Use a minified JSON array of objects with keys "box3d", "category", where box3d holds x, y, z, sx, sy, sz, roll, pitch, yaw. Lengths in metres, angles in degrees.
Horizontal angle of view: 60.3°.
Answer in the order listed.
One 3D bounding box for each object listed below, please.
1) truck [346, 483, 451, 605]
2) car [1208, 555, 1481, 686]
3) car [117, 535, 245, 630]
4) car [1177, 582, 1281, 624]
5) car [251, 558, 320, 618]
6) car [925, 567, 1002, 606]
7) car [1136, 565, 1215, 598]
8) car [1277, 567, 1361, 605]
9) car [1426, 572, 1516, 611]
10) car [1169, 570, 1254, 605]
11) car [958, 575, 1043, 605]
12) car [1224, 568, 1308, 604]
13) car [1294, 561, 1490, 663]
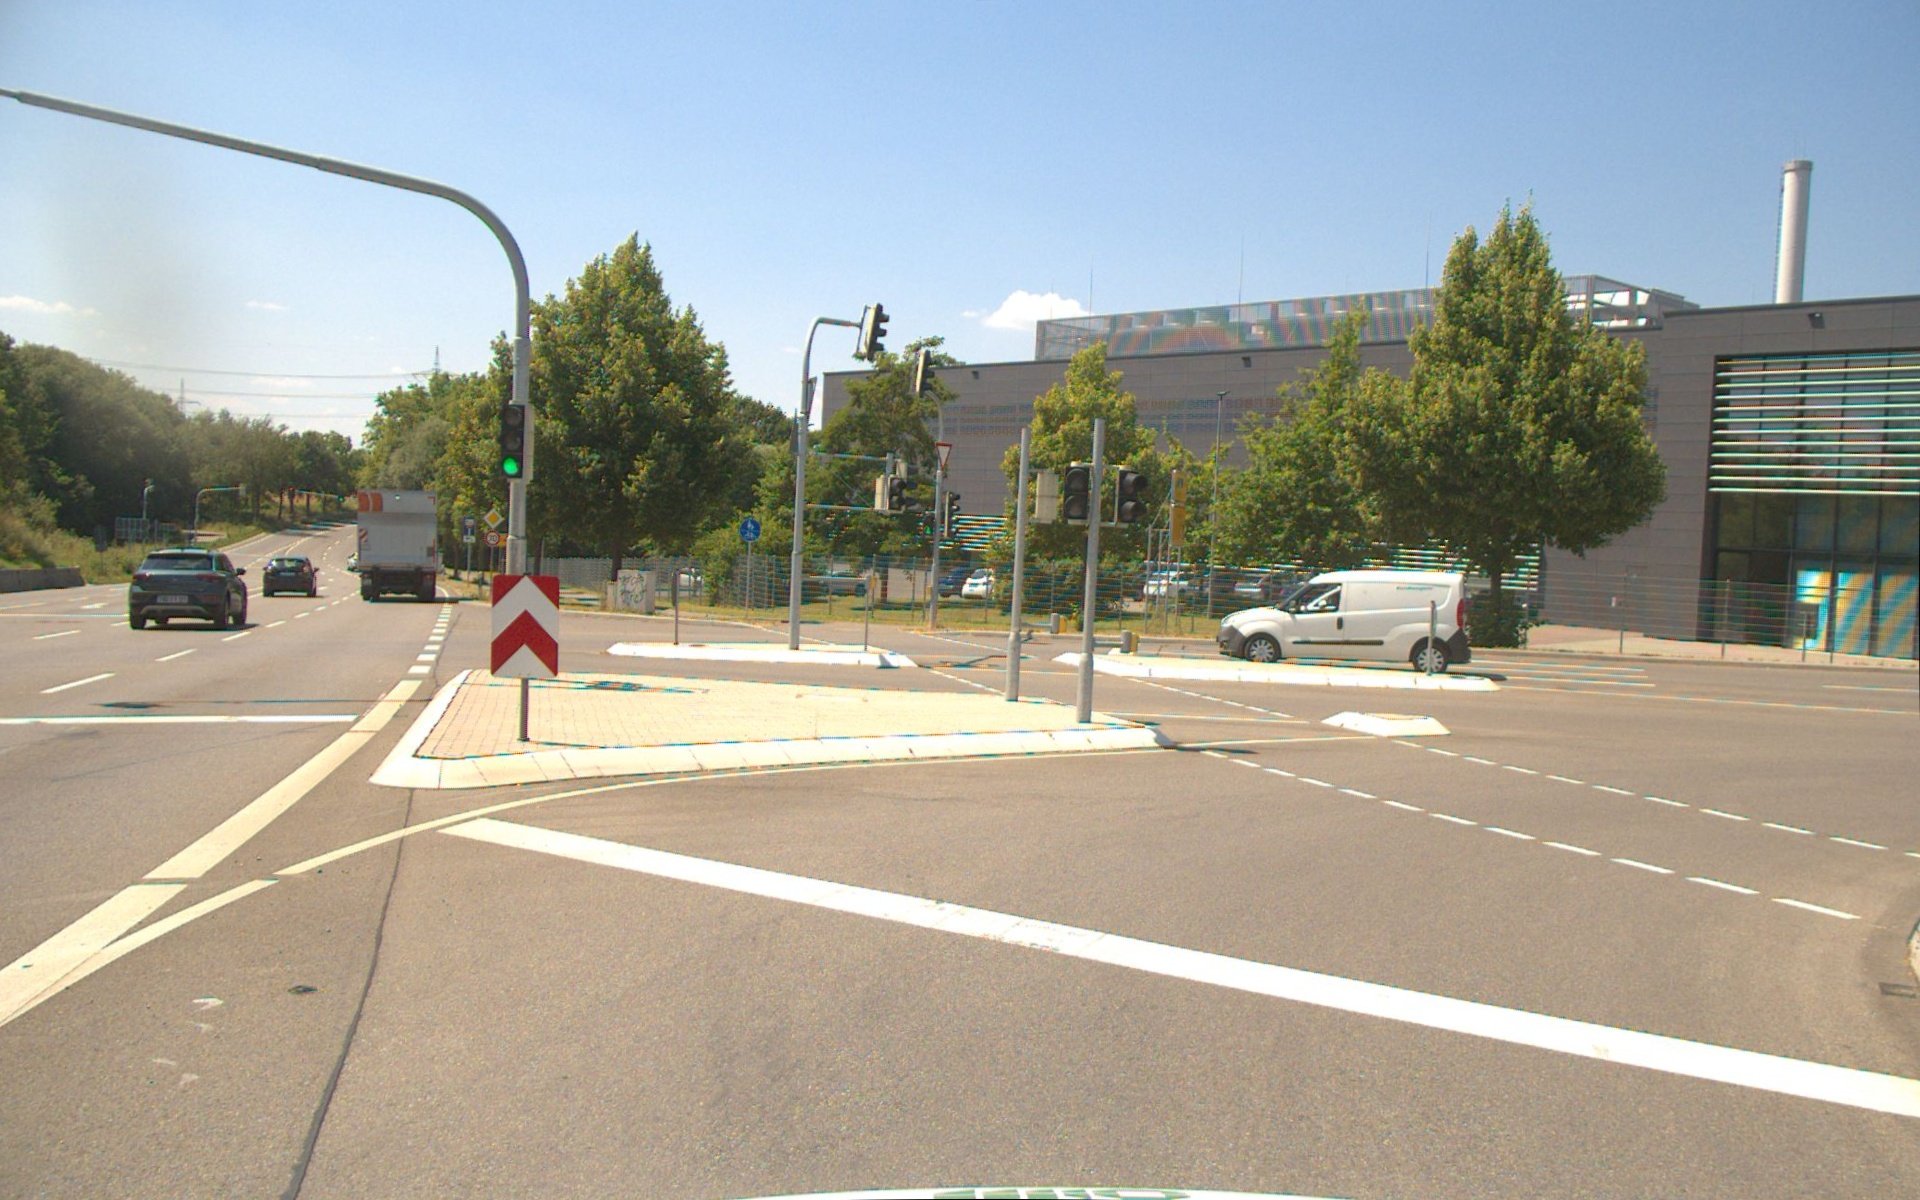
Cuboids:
[{"box3d":[-19.352,-1.809,57.193,3.216,3.907,6.171,1,0,-18],"category":"truck"},{"box3d":[7.210,0.327,31.091,4.753,1.975,2.003,3,6,15],"category":"car"},{"box3d":[-15.735,-0.321,33.591,1.965,1.780,3.976,1,0,-21],"category":"car"},{"box3d":[10.070,0.130,61.759,1.966,1.512,3.973,1,0,44],"category":"car"},{"box3d":[-24.482,-0.429,59.961,1.970,2.049,3.964,1,0,-27],"category":"car"},{"box3d":[0.216,-0.729,90.037,1.966,2.049,3.973,1,-1,44],"category":"car"},{"box3d":[10.250,-0.855,78.601,1.741,1.486,3.973,1,0,44],"category":"car"},{"box3d":[15.754,-0.590,72.496,1.789,1.555,3.973,1,0,44],"category":"car"},{"box3d":[20.770,-0.325,67.149,1.966,1.512,3.973,1,0,44],"category":"car"},{"box3d":[11.652,-0.581,76.594,1.966,1.512,3.973,1,0,44],"category":"car"},{"box3d":[1.740,-0.412,69.746,1.588,1.185,3.610,1,0,44],"category":"car"},{"box3d":[13.872,-0.613,74.785,1.887,1.543,3.973,1,0,44],"category":"car"},{"box3d":[8.977,0.212,34.477,3.771,1.735,2.003,3,6,15],"category":"car"}]
